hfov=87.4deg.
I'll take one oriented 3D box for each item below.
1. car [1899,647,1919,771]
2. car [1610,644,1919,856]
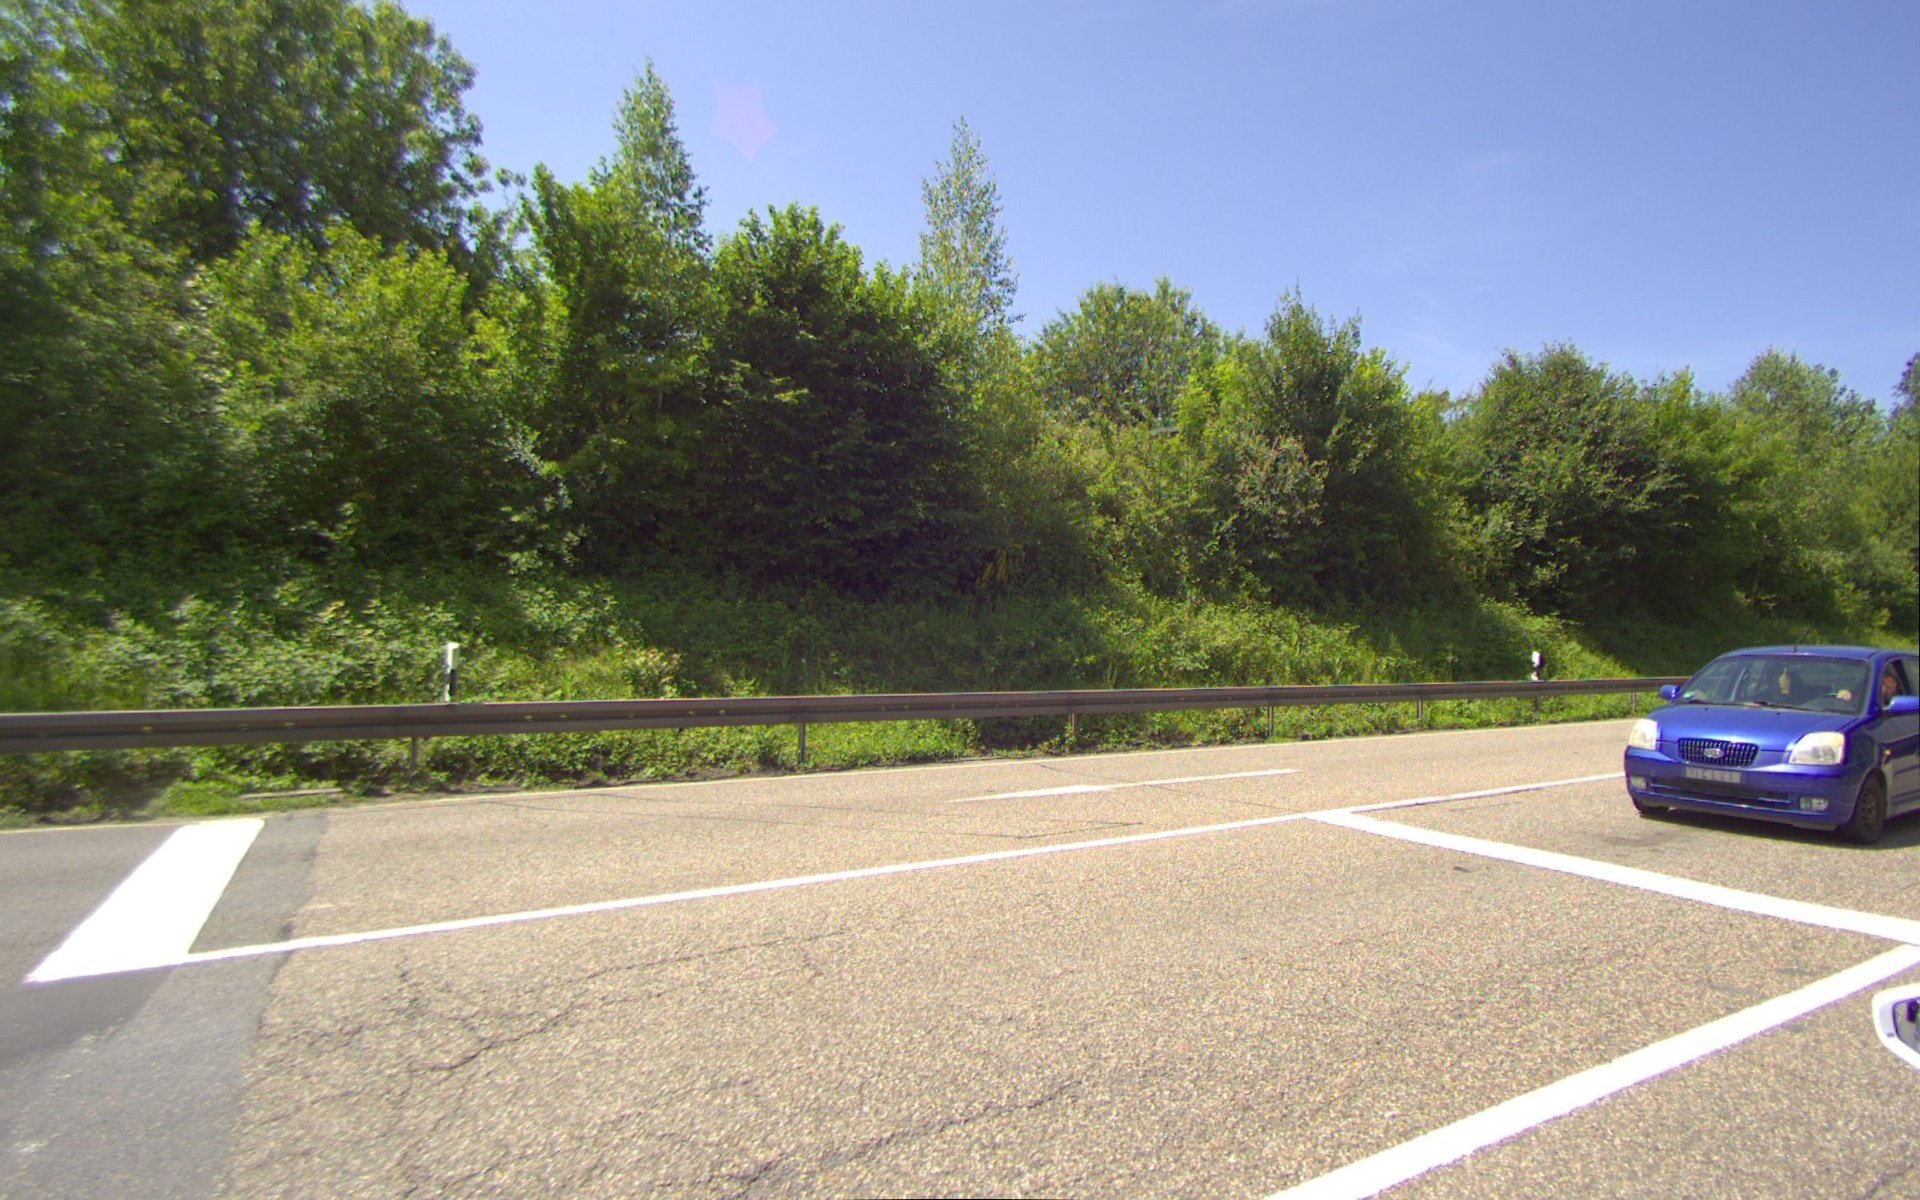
[{"bbox_3d":[13.623,1.332,12.587,4.593,1.466,1.770,2,-2,-34],"label":"car"},{"bbox_3d":[7.423,1.129,8.750,3.729,1.459,1.558,2,-2,-32],"label":"car"}]
